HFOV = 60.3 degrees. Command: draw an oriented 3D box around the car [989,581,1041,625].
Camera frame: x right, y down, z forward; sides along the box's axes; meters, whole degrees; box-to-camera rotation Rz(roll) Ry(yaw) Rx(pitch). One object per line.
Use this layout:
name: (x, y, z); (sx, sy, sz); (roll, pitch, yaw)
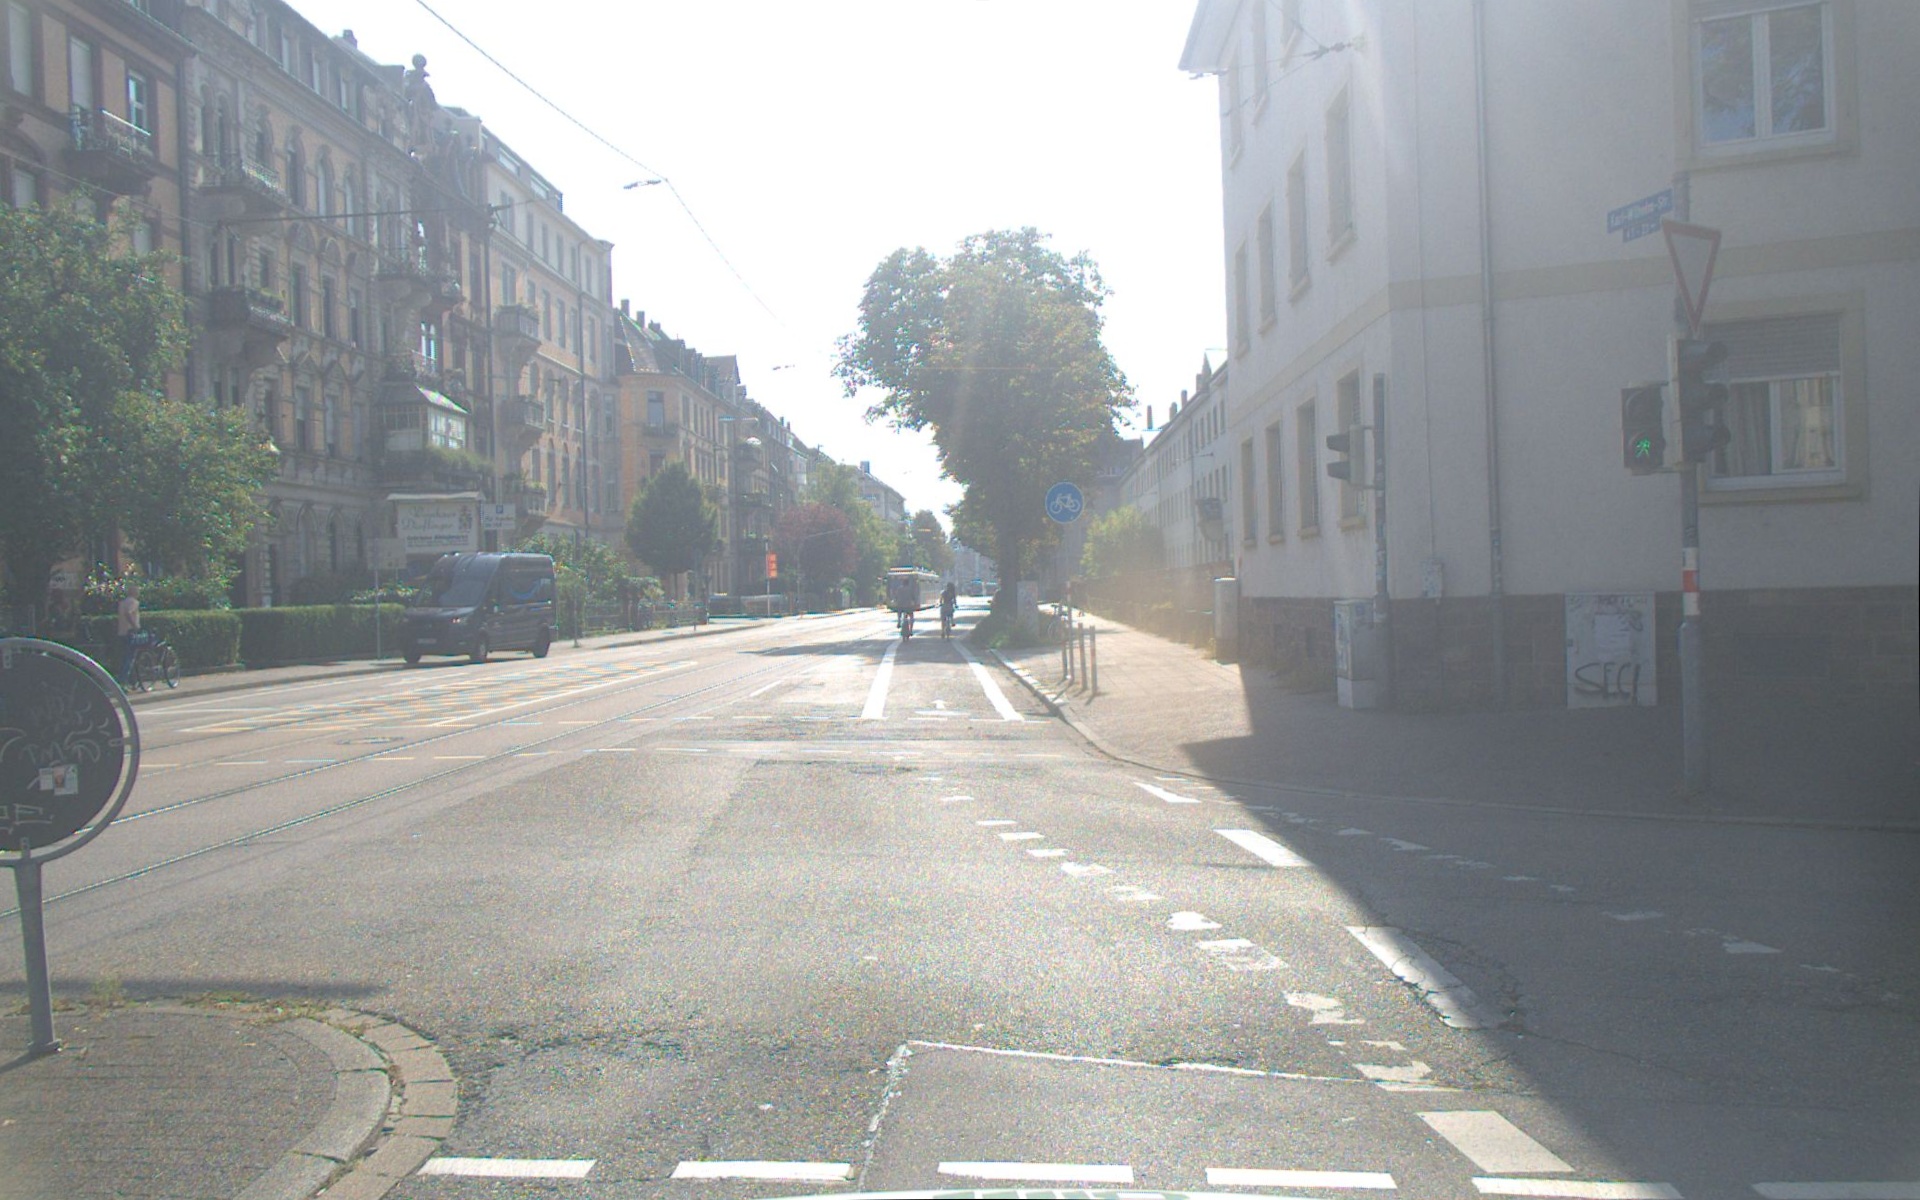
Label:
car: (2.182, 0.095, 64.663); (1.610, 1.567, 3.845); (-4, 0, 7)

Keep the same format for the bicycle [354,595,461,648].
bicycle: (-16.400, 0.629, 49.175); (2.818, 1.480, 0.997); (-1, 0, -5)

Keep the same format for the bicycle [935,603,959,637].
bicycle: (-0.372, 0.567, 47.378); (0.641, 0.925, 1.775); (0, 0, 1)

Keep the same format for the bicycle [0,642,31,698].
bicycle: (-15.828, 1.156, 26.735); (0.515, 0.875, 1.703); (-2, 1, 5)

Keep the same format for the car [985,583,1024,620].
car: (1.974, 0.052, 72.624); (1.611, 1.473, 4.247); (-4, 0, 2)

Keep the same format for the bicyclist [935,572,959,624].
bicyclist: (-0.366, -0.057, 47.364); (0.641, 1.499, 0.909); (0, 0, 1)

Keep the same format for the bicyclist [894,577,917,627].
bicyclist: (-1.569, 0.065, 47.650); (0.613, 1.425, 0.929); (0, 0, 1)

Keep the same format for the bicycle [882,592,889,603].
bicycle: (-9.001, -0.316, 199.377); (0.549, 1.242, 2.115); (-2, 0, 4)

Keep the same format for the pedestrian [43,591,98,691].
pedestrian: (-15.578, 0.710, 28.972); (0.625, 1.707, 0.632); (-2, 0, -10)

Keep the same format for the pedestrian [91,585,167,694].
pedestrian: (-14.488, 0.672, 28.868); (0.712, 1.837, 1.093); (-2, 0, 0)

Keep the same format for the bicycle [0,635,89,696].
bicycle: (-15.741, 1.106, 28.427); (0.515, 0.943, 1.703); (-2, 1, 5)

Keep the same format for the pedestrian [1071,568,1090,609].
pedestrian: (5.376, -0.520, 74.021); (0.736, 1.779, 0.879); (-2, 0, 8)

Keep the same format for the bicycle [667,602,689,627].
bicycle: (-12.950, 0.652, 76.020); (0.533, 1.076, 1.840); (2, 0, 3)

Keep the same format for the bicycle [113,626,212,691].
bicycle: (-13.996, 1.003, 29.088); (0.605, 1.024, 2.151); (-2, 0, 1)

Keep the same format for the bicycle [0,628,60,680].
bicycle: (-17.009, 0.976, 29.467); (1.661, 0.875, 0.528); (-2, 0, 2)

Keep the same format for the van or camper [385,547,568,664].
van or camper: (-12.180, 0.120, 42.186); (2.007, 2.690, 6.095); (-2, 0, 9)

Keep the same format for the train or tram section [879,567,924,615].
train or tram section: (-4.635, -0.703, 133.596); (2.678, 3.567, 15.436); (-1, 0, 1)

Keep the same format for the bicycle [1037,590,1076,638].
bicycle: (2.372, 0.329, 40.905); (0.756, 1.123, 2.333); (-2, 0, -1)

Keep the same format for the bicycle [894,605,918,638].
bicycle: (-1.560, 0.621, 47.734); (0.613, 0.925, 1.525); (0, 0, 1)

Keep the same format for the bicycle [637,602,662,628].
bicycle: (-13.158, 0.623, 70.089); (0.594, 1.076, 1.840); (2, 0, 3)

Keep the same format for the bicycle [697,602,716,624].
bicycle: (-12.746, 0.656, 83.045); (0.533, 1.076, 1.840); (2, 0, 3)
